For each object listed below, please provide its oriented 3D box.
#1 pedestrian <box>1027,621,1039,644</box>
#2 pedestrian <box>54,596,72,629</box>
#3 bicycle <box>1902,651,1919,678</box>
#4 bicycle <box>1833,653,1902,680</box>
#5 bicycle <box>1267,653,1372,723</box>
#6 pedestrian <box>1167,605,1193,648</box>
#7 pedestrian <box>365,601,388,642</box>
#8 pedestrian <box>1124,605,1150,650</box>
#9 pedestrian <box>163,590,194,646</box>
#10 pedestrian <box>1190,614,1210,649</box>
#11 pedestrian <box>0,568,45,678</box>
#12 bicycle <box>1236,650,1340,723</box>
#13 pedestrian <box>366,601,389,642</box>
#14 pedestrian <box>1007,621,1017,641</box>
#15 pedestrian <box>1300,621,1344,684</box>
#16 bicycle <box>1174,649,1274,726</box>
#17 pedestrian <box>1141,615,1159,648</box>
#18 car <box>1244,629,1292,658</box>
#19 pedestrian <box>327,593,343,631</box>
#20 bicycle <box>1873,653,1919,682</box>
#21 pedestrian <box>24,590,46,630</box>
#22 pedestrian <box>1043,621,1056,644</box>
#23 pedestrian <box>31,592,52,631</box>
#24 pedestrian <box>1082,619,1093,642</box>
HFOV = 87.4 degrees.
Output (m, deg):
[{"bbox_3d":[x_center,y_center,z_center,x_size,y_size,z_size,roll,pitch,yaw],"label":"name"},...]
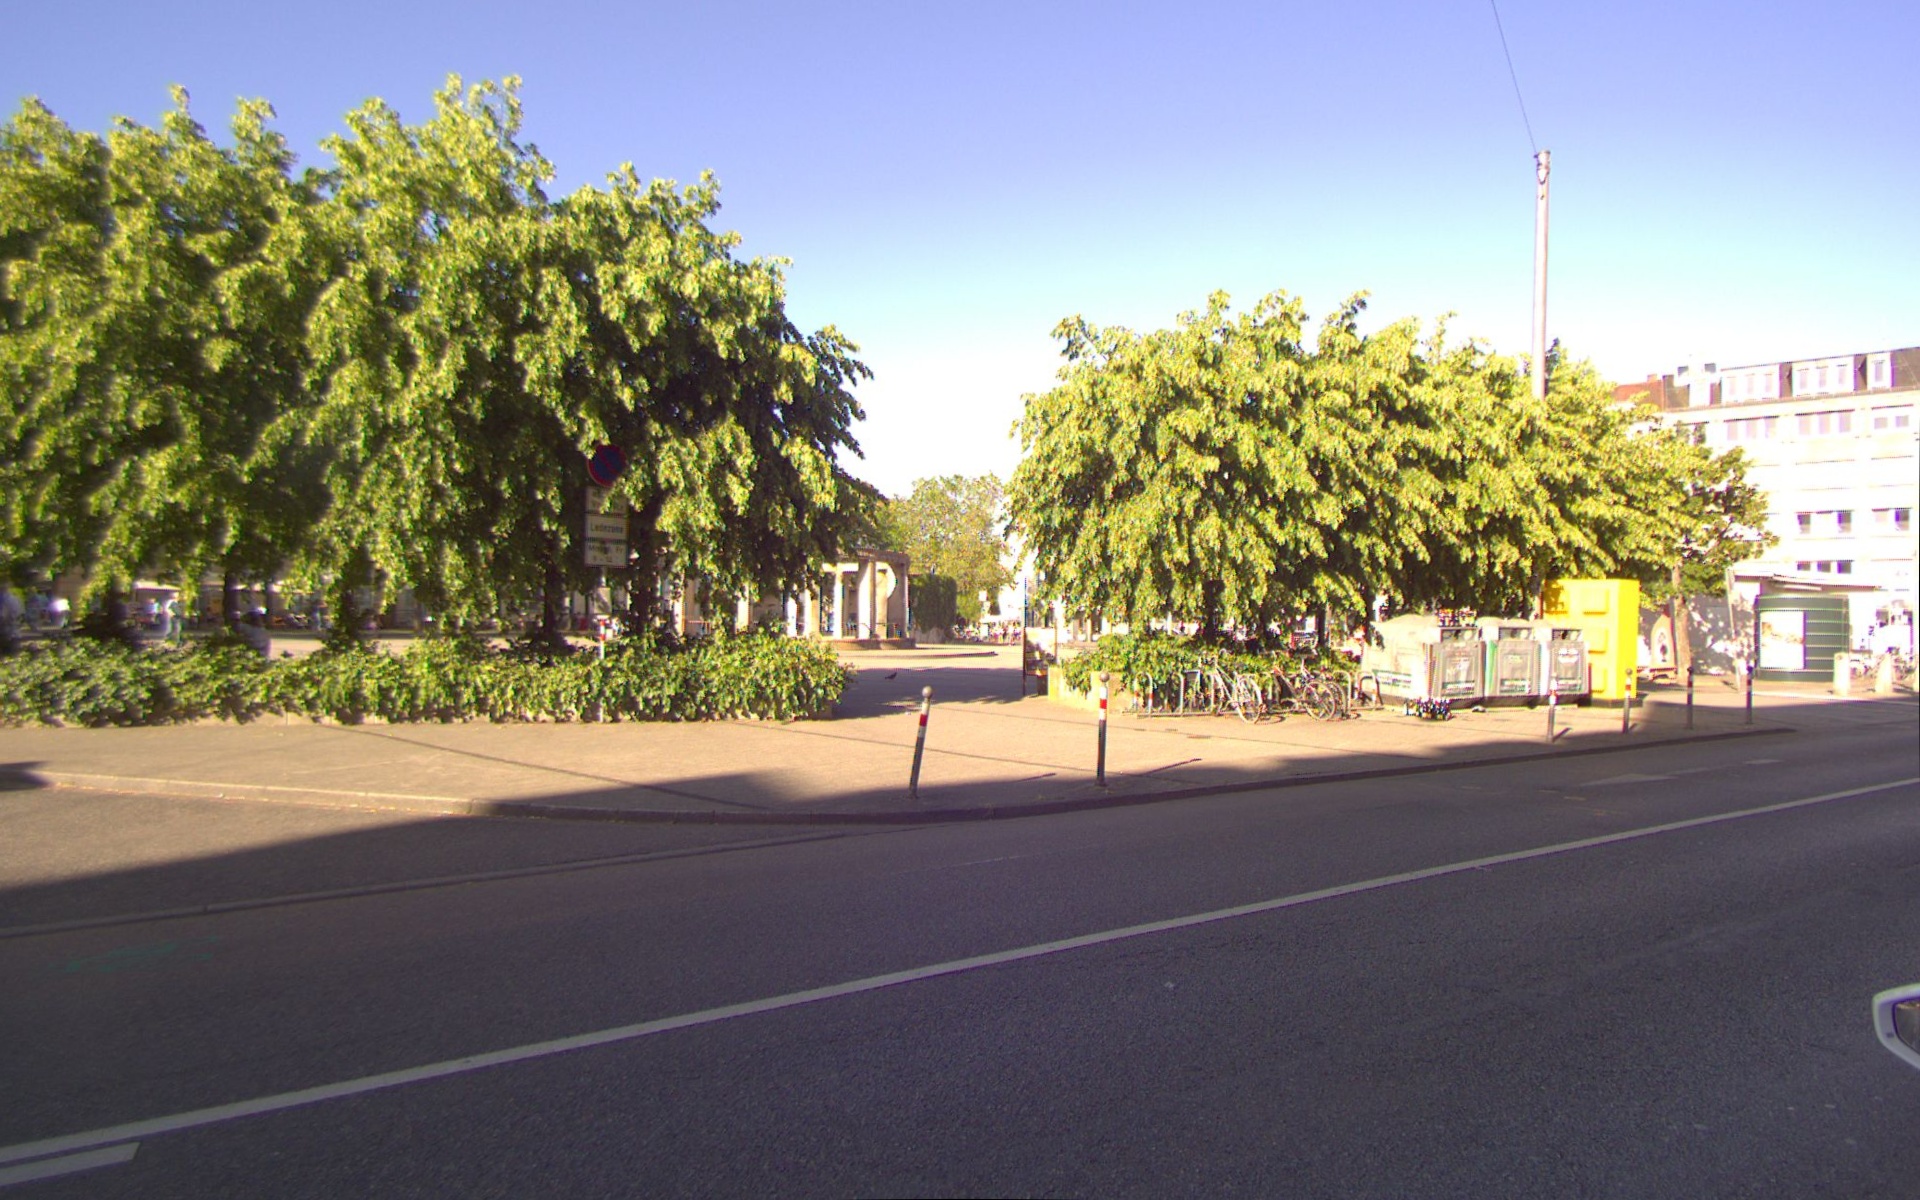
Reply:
[{"bbox_3d":[6.625,2.912,91.405,0.860,2.040,0.902,2,0,-5],"label":"pedestrian"},{"bbox_3d":[-48.818,0.683,54.668,0.599,1.744,0.644,2,0,39],"label":"pedestrian"},{"bbox_3d":[35.137,2.339,36.039,0.599,0.946,1.854,2,0,-30],"label":"bicycle"},{"bbox_3d":[30.823,2.250,34.128,0.600,0.802,1.634,2,0,-33],"label":"bicycle"},{"bbox_3d":[5.828,1.405,16.418,0.508,0.968,1.898,2,0,-20],"label":"bicycle"},{"bbox_3d":[10.729,1.286,48.945,0.875,2.040,0.896,1,0,-17],"label":"pedestrian"},{"bbox_3d":[-25.768,0.945,44.368,0.599,1.744,0.644,2,0,37],"label":"pedestrian"},{"bbox_3d":[8.118,1.269,46.138,0.875,2.040,0.896,1,-1,-17],"label":"pedestrian"},{"bbox_3d":[-24.722,0.559,31.772,0.599,1.744,0.644,2,0,41],"label":"pedestrian"},{"bbox_3d":[12.040,1.574,50.431,0.774,1.720,0.763,1,0,-6],"label":"pedestrian"},{"bbox_3d":[-14.842,0.348,15.648,0.615,1.671,0.654,2,0,-16],"label":"pedestrian"},{"bbox_3d":[5.272,1.366,16.279,0.508,1.016,1.923,2,0,-20],"label":"bicycle"},{"bbox_3d":[-25.674,0.947,44.271,0.598,1.744,0.645,2,0,32],"label":"pedestrian"},{"bbox_3d":[4.759,2.851,92.148,0.718,1.862,0.697,2,0,-5],"label":"pedestrian"},{"bbox_3d":[12.229,1.749,33.929,0.967,2.040,1.042,2,0,-42],"label":"pedestrian"},{"bbox_3d":[4.072,1.330,15.656,0.508,1.029,1.930,2,0,-19],"label":"bicycle"},{"bbox_3d":[11.935,1.998,63.120,0.873,2.040,0.898,1,-1,-9],"label":"pedestrian"},{"bbox_3d":[16.246,2.271,53.091,1.658,1.405,3.575,1,-1,5],"label":"car"},{"bbox_3d":[-33.198,0.636,53.343,0.669,1.974,0.634,2,0,-33],"label":"pedestrian"},{"bbox_3d":[33.212,2.361,35.076,0.599,0.946,1.855,1,-1,-30],"label":"bicycle"},{"bbox_3d":[-40.070,0.437,43.520,0.600,1.744,0.643,2,0,45],"label":"pedestrian"},{"bbox_3d":[8.199,2.959,92.232,1.014,2.040,1.159,2,0,-5],"label":"pedestrian"},{"bbox_3d":[-40.934,0.513,44.772,0.600,1.744,0.643,2,0,45],"label":"pedestrian"},{"bbox_3d":[12.663,3.051,99.588,0.860,2.199,0.902,2,0,-5],"label":"pedestrian"}]
